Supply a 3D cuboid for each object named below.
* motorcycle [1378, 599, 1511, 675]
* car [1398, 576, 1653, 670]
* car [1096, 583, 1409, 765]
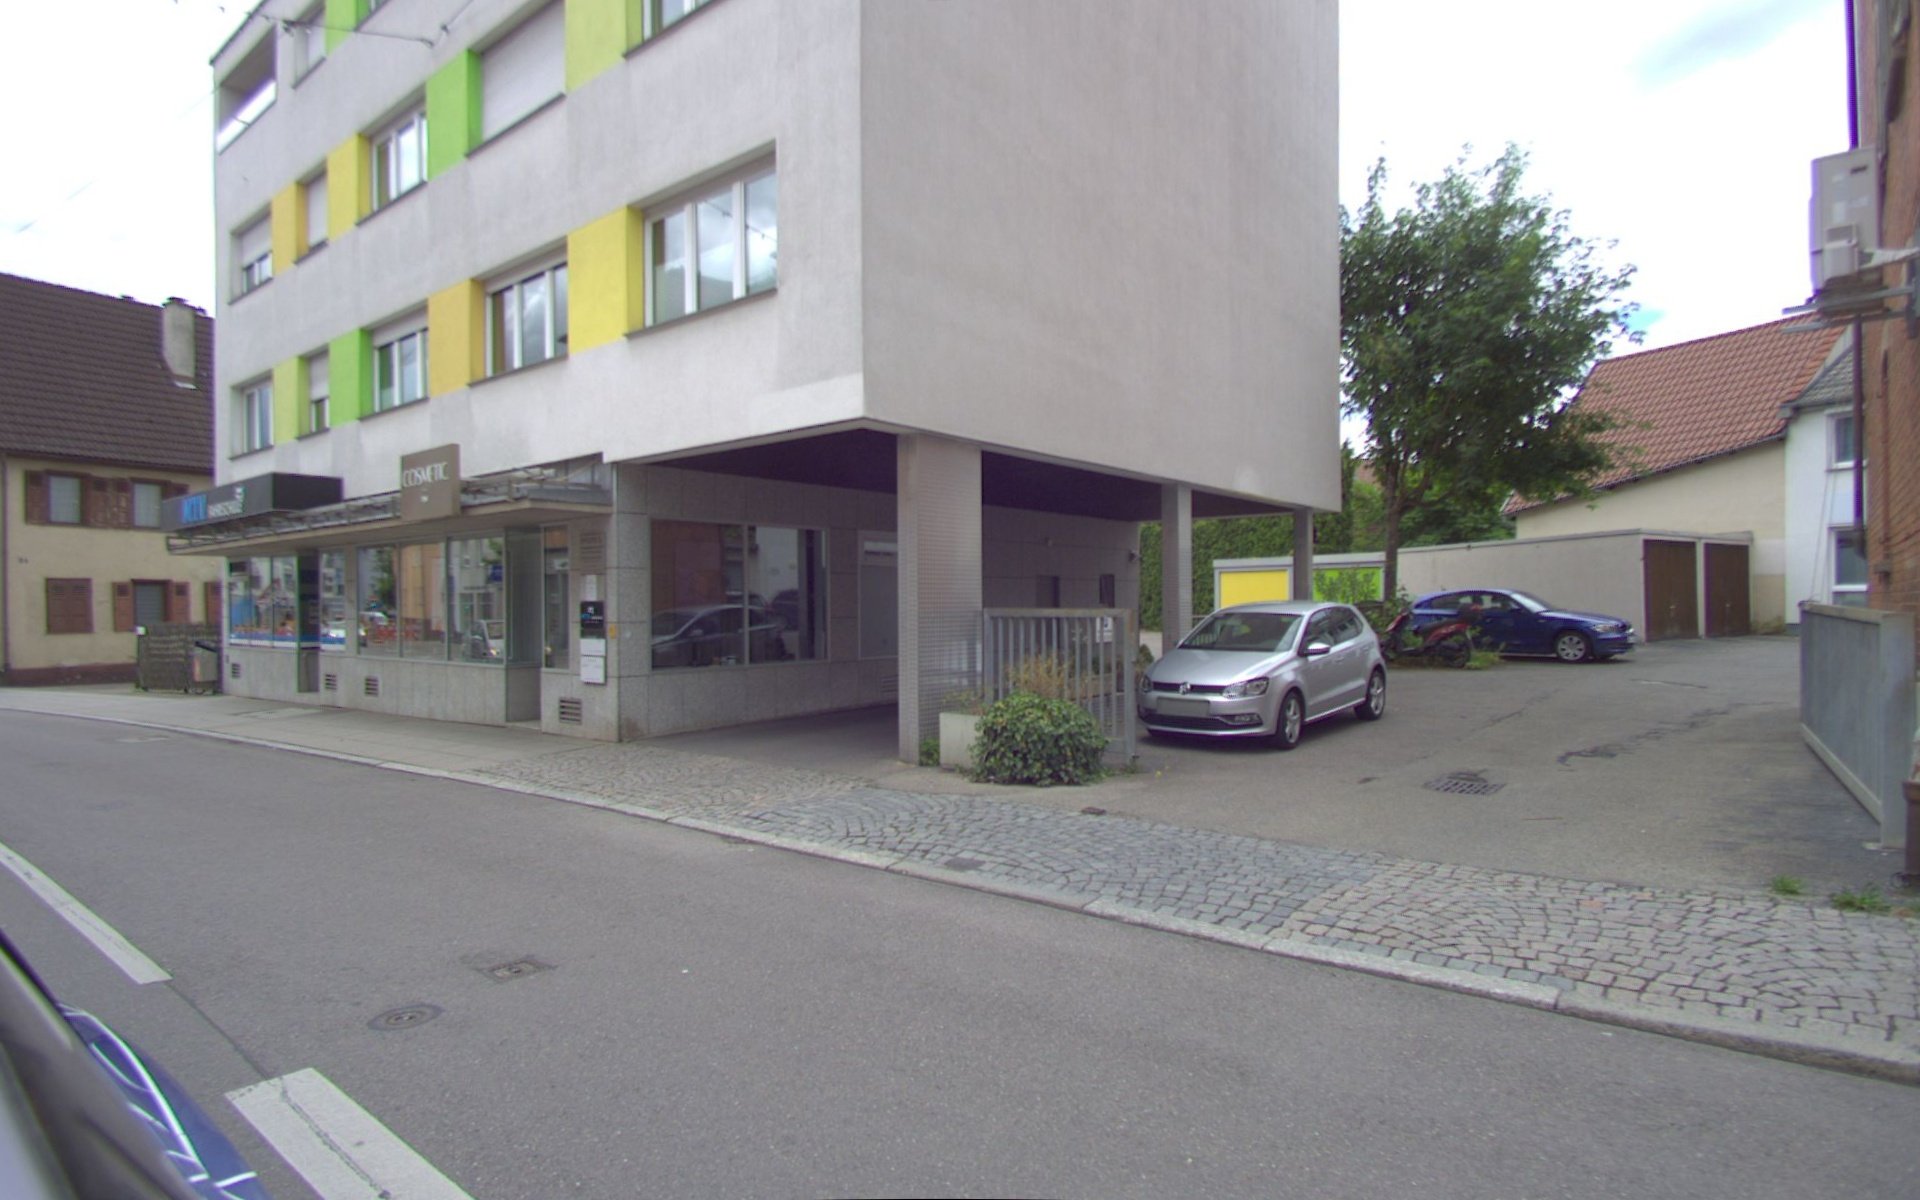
[{"bbox_3d":[8.739,0.659,18.319,2.027,1.307,0.769,-2,-1,41],"label":"motorcycle"},{"bbox_3d":[11.110,0.430,20.104,1.856,1.674,4.033,0,-1,-39],"label":"car"},{"bbox_3d":[3.476,0.686,11.577,1.885,1.674,3.954,-2,0,42],"label":"car"}]
